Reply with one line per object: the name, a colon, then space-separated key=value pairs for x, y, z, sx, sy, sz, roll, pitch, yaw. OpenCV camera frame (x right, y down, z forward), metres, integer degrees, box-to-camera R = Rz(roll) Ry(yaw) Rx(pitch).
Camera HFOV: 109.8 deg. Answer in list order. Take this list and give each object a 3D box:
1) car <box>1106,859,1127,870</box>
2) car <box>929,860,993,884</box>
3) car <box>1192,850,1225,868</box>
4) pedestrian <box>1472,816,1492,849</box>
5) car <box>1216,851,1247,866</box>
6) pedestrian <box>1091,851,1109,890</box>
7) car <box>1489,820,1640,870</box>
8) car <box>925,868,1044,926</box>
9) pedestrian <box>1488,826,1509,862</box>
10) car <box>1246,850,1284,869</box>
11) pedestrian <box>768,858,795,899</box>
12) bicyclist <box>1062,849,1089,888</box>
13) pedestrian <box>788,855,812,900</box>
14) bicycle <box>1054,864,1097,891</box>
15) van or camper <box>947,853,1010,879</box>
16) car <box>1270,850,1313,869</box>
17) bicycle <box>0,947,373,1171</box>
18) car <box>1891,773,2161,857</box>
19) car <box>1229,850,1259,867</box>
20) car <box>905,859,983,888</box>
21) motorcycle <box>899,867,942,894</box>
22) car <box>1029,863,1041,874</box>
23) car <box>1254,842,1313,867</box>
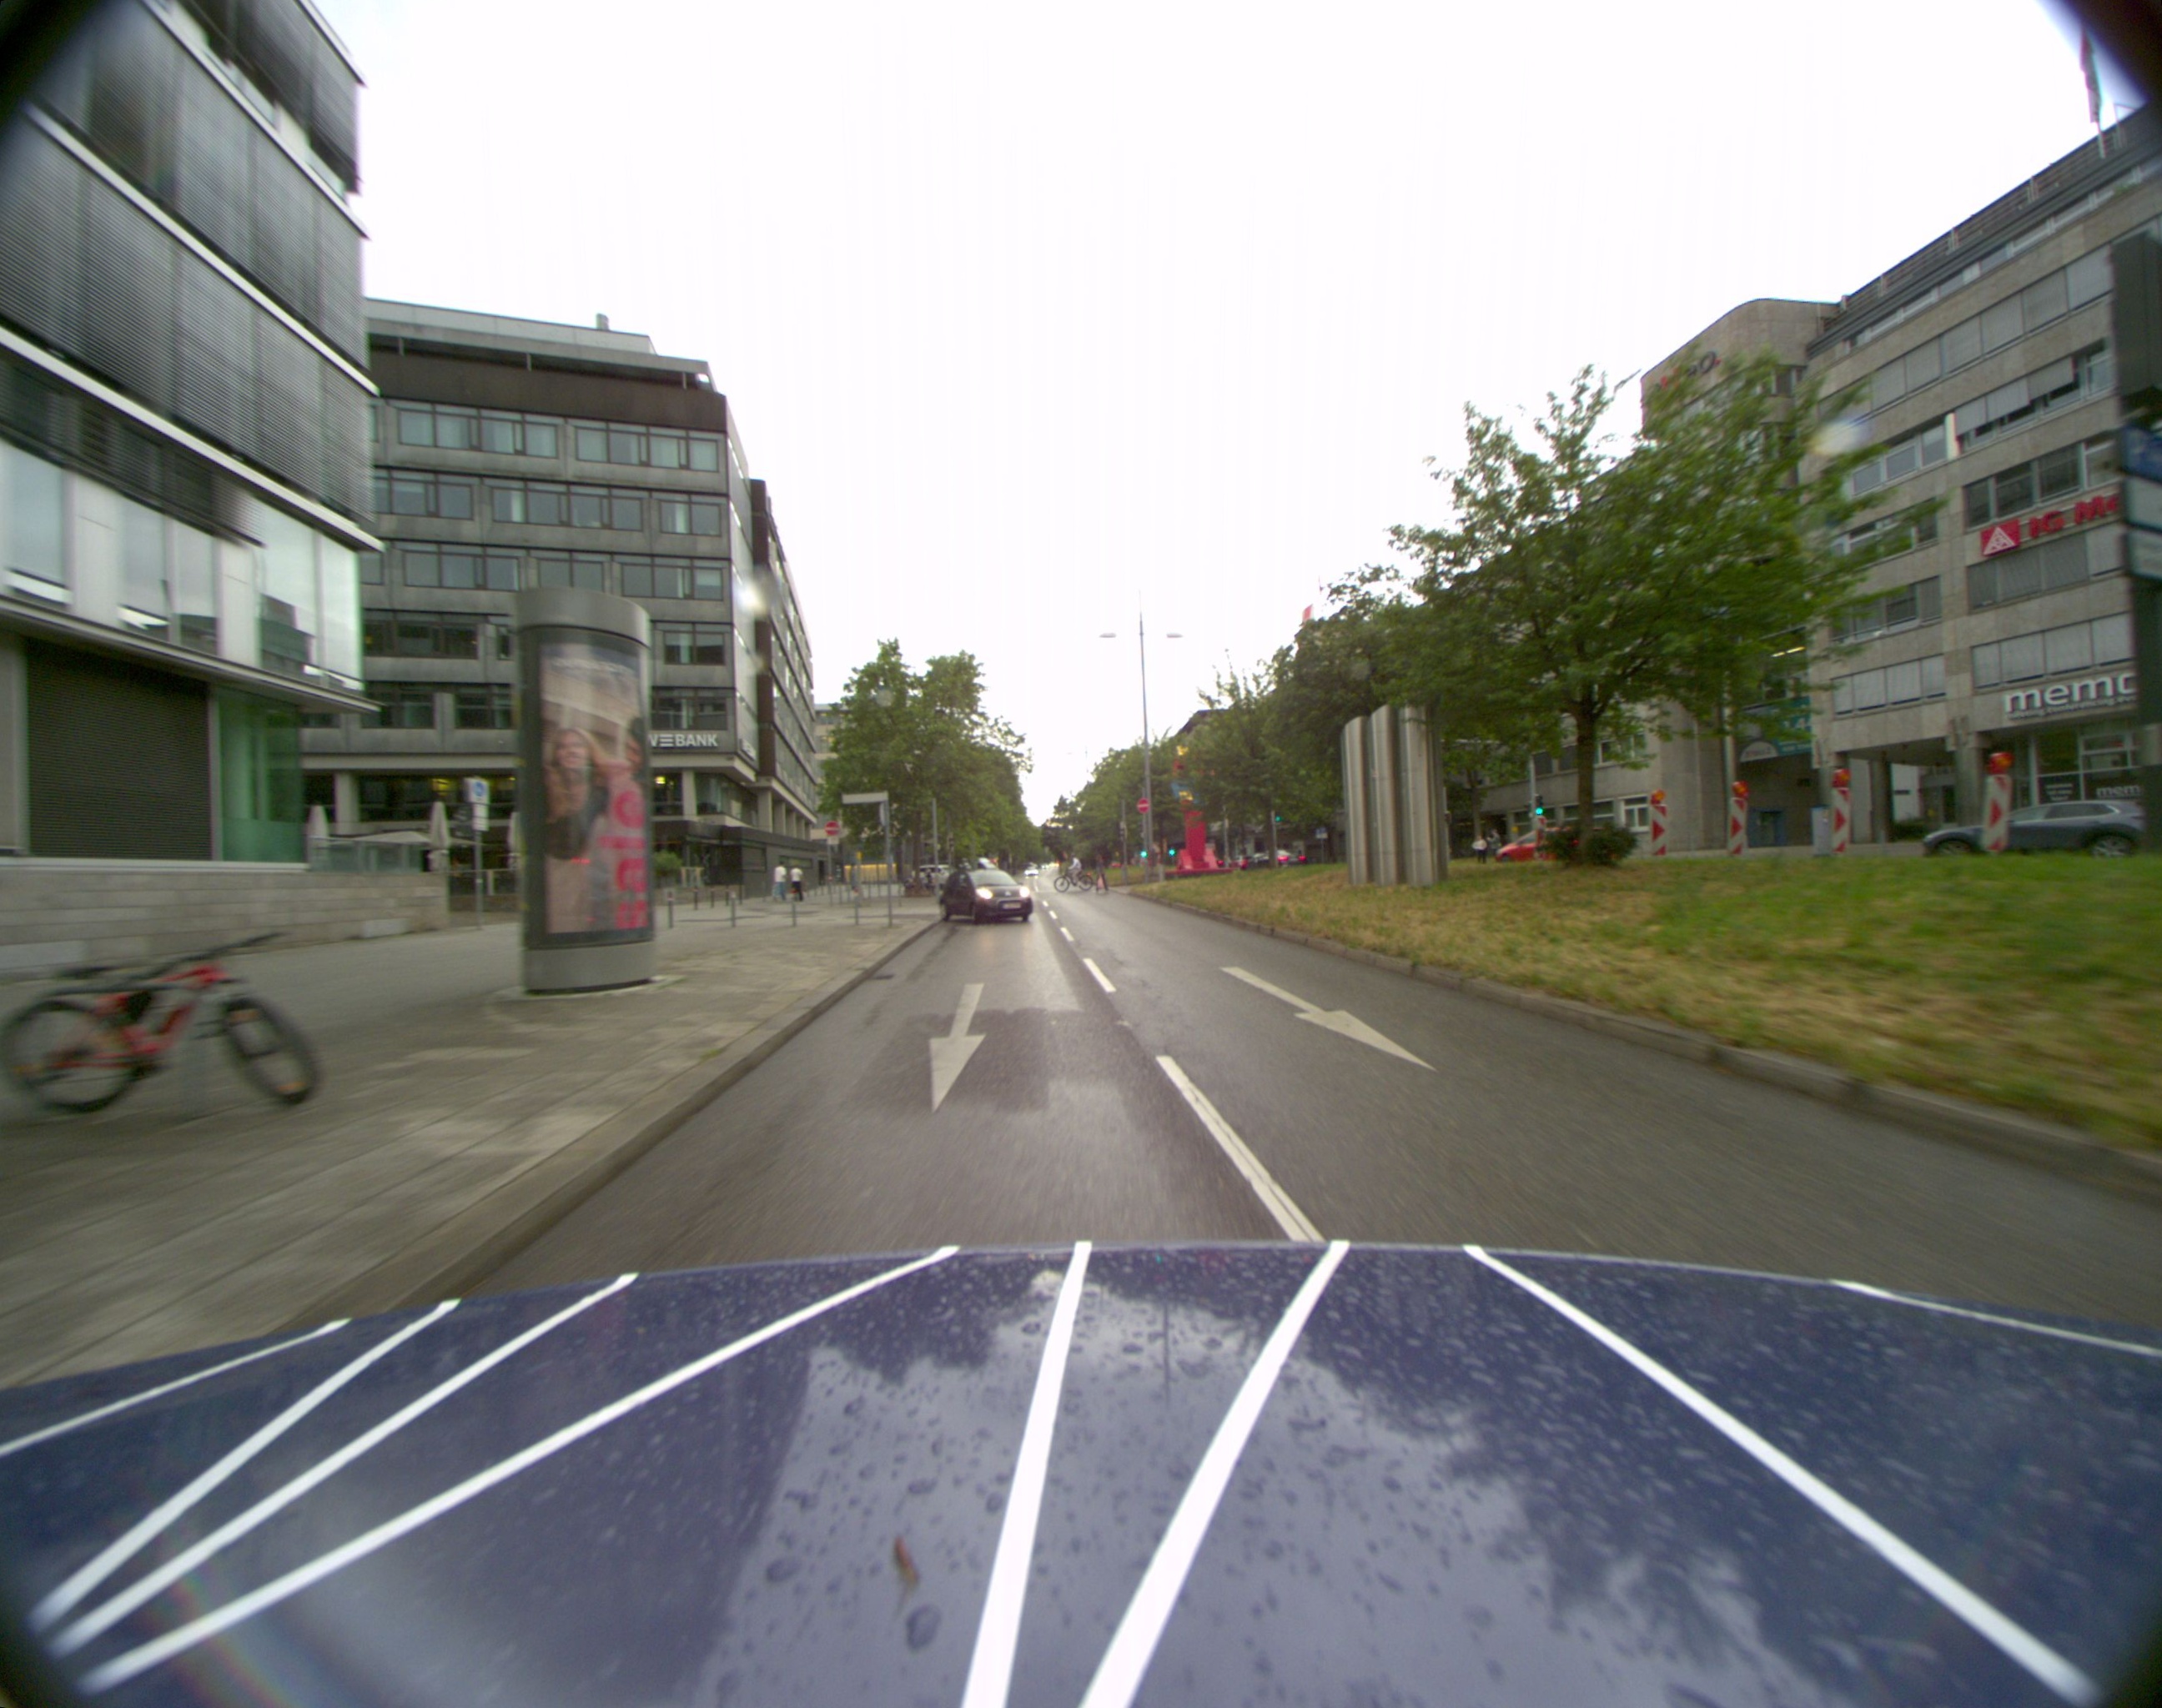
car: x=4.579 y=1.362 z=98.543 sx=1.795 sy=1.458 sz=4.722 roll=-1 pitch=-1 yaw=-9
car: x=-9.183 y=1.377 z=58.187 sx=4.348 sy=1.528 sz=1.919 roll=-3 pitch=0 yaw=23
car: x=10.791 y=0.439 z=64.652 sx=1.795 sy=1.406 sz=3.998 roll=-1 pitch=-1 yaw=-5
pedestrian: x=20.448 y=-1.081 z=38.738 sx=0.607 sy=1.619 sz=0.619 roll=-3 pitch=0 yaw=-3
car: x=15.376 y=0.457 z=77.872 sx=1.791 sy=1.478 sz=4.573 roll=-2 pitch=-1 yaw=-6
pedestrian: x=0.831 y=0.718 z=33.131 sx=0.528 sy=1.675 sz=0.722 roll=-3 pitch=0 yaw=14
car: x=15.538 y=-0.247 z=24.723 sx=1.868 sy=1.421 sz=4.130 roll=-2 pitch=-1 yaw=-8
car: x=-2.786 y=1.153 z=21.278 sx=1.638 sy=1.408 sz=3.825 roll=-3 pitch=0 yaw=-35
pedestrian: x=20.747 y=-0.495 z=37.781 sx=0.529 sy=1.777 sz=0.721 roll=-3 pitch=0 yaw=-3
car: x=16.538 y=0.527 z=68.384 sx=1.867 sy=1.612 sz=4.465 roll=-2 pitch=-1 yaw=-6
pedestrian: x=-13.947 y=1.120 z=35.401 sx=0.803 sy=1.857 sz=0.898 roll=-3 pitch=0 yaw=4
bicyclist: x=-0.272 y=0.675 z=36.618 sx=1.079 sy=1.739 sz=0.812 roll=-6 pitch=2 yaw=-2
pedestrian: x=-13.211 y=1.098 z=35.732 sx=0.852 sy=2.027 sz=0.752 roll=-3 pitch=0 yaw=-10
bicycle: x=-0.282 y=1.119 z=36.606 sx=1.977 sy=1.132 sz=0.777 roll=-6 pitch=0 yaw=-3
van or camper: x=-10.945 y=1.284 z=80.893 sx=6.251 sy=2.432 sz=2.319 roll=-3 pitch=0 yaw=26
car: x=17.469 y=0.482 z=63.248 sx=1.867 sy=1.421 sz=4.564 roll=-2 pitch=-1 yaw=-6
bicycle: x=-5.627 y=1.175 z=4.547 sx=1.988 sy=1.097 sz=0.808 roll=-1 pitch=0 yaw=0
car: x=23.372 y=-0.839 z=18.508 sx=1.867 sy=1.715 sz=4.790 roll=-2 pitch=-1 yaw=-6
car: x=15.702 y=0.455 z=73.328 sx=1.691 sy=1.493 sz=3.691 roll=-2 pitch=-1 yaw=-6
car: x=-9.083 y=1.267 z=50.198 sx=4.793 sy=1.640 sz=1.919 roll=-3 pitch=0 yaw=26
motorcycle: x=-8.584 y=1.413 z=40.687 sx=2.088 sy=1.349 sz=0.677 roll=-3 pitch=0 yaw=4
car: x=-7.493 y=2.382 z=123.212 sx=1.791 sy=1.736 sz=4.573 roll=-2 pitch=-1 yaw=-6
car: x=12.506 y=0.074 z=47.174 sx=1.867 sy=1.421 sz=4.563 roll=-2 pitch=-1 yaw=-8
